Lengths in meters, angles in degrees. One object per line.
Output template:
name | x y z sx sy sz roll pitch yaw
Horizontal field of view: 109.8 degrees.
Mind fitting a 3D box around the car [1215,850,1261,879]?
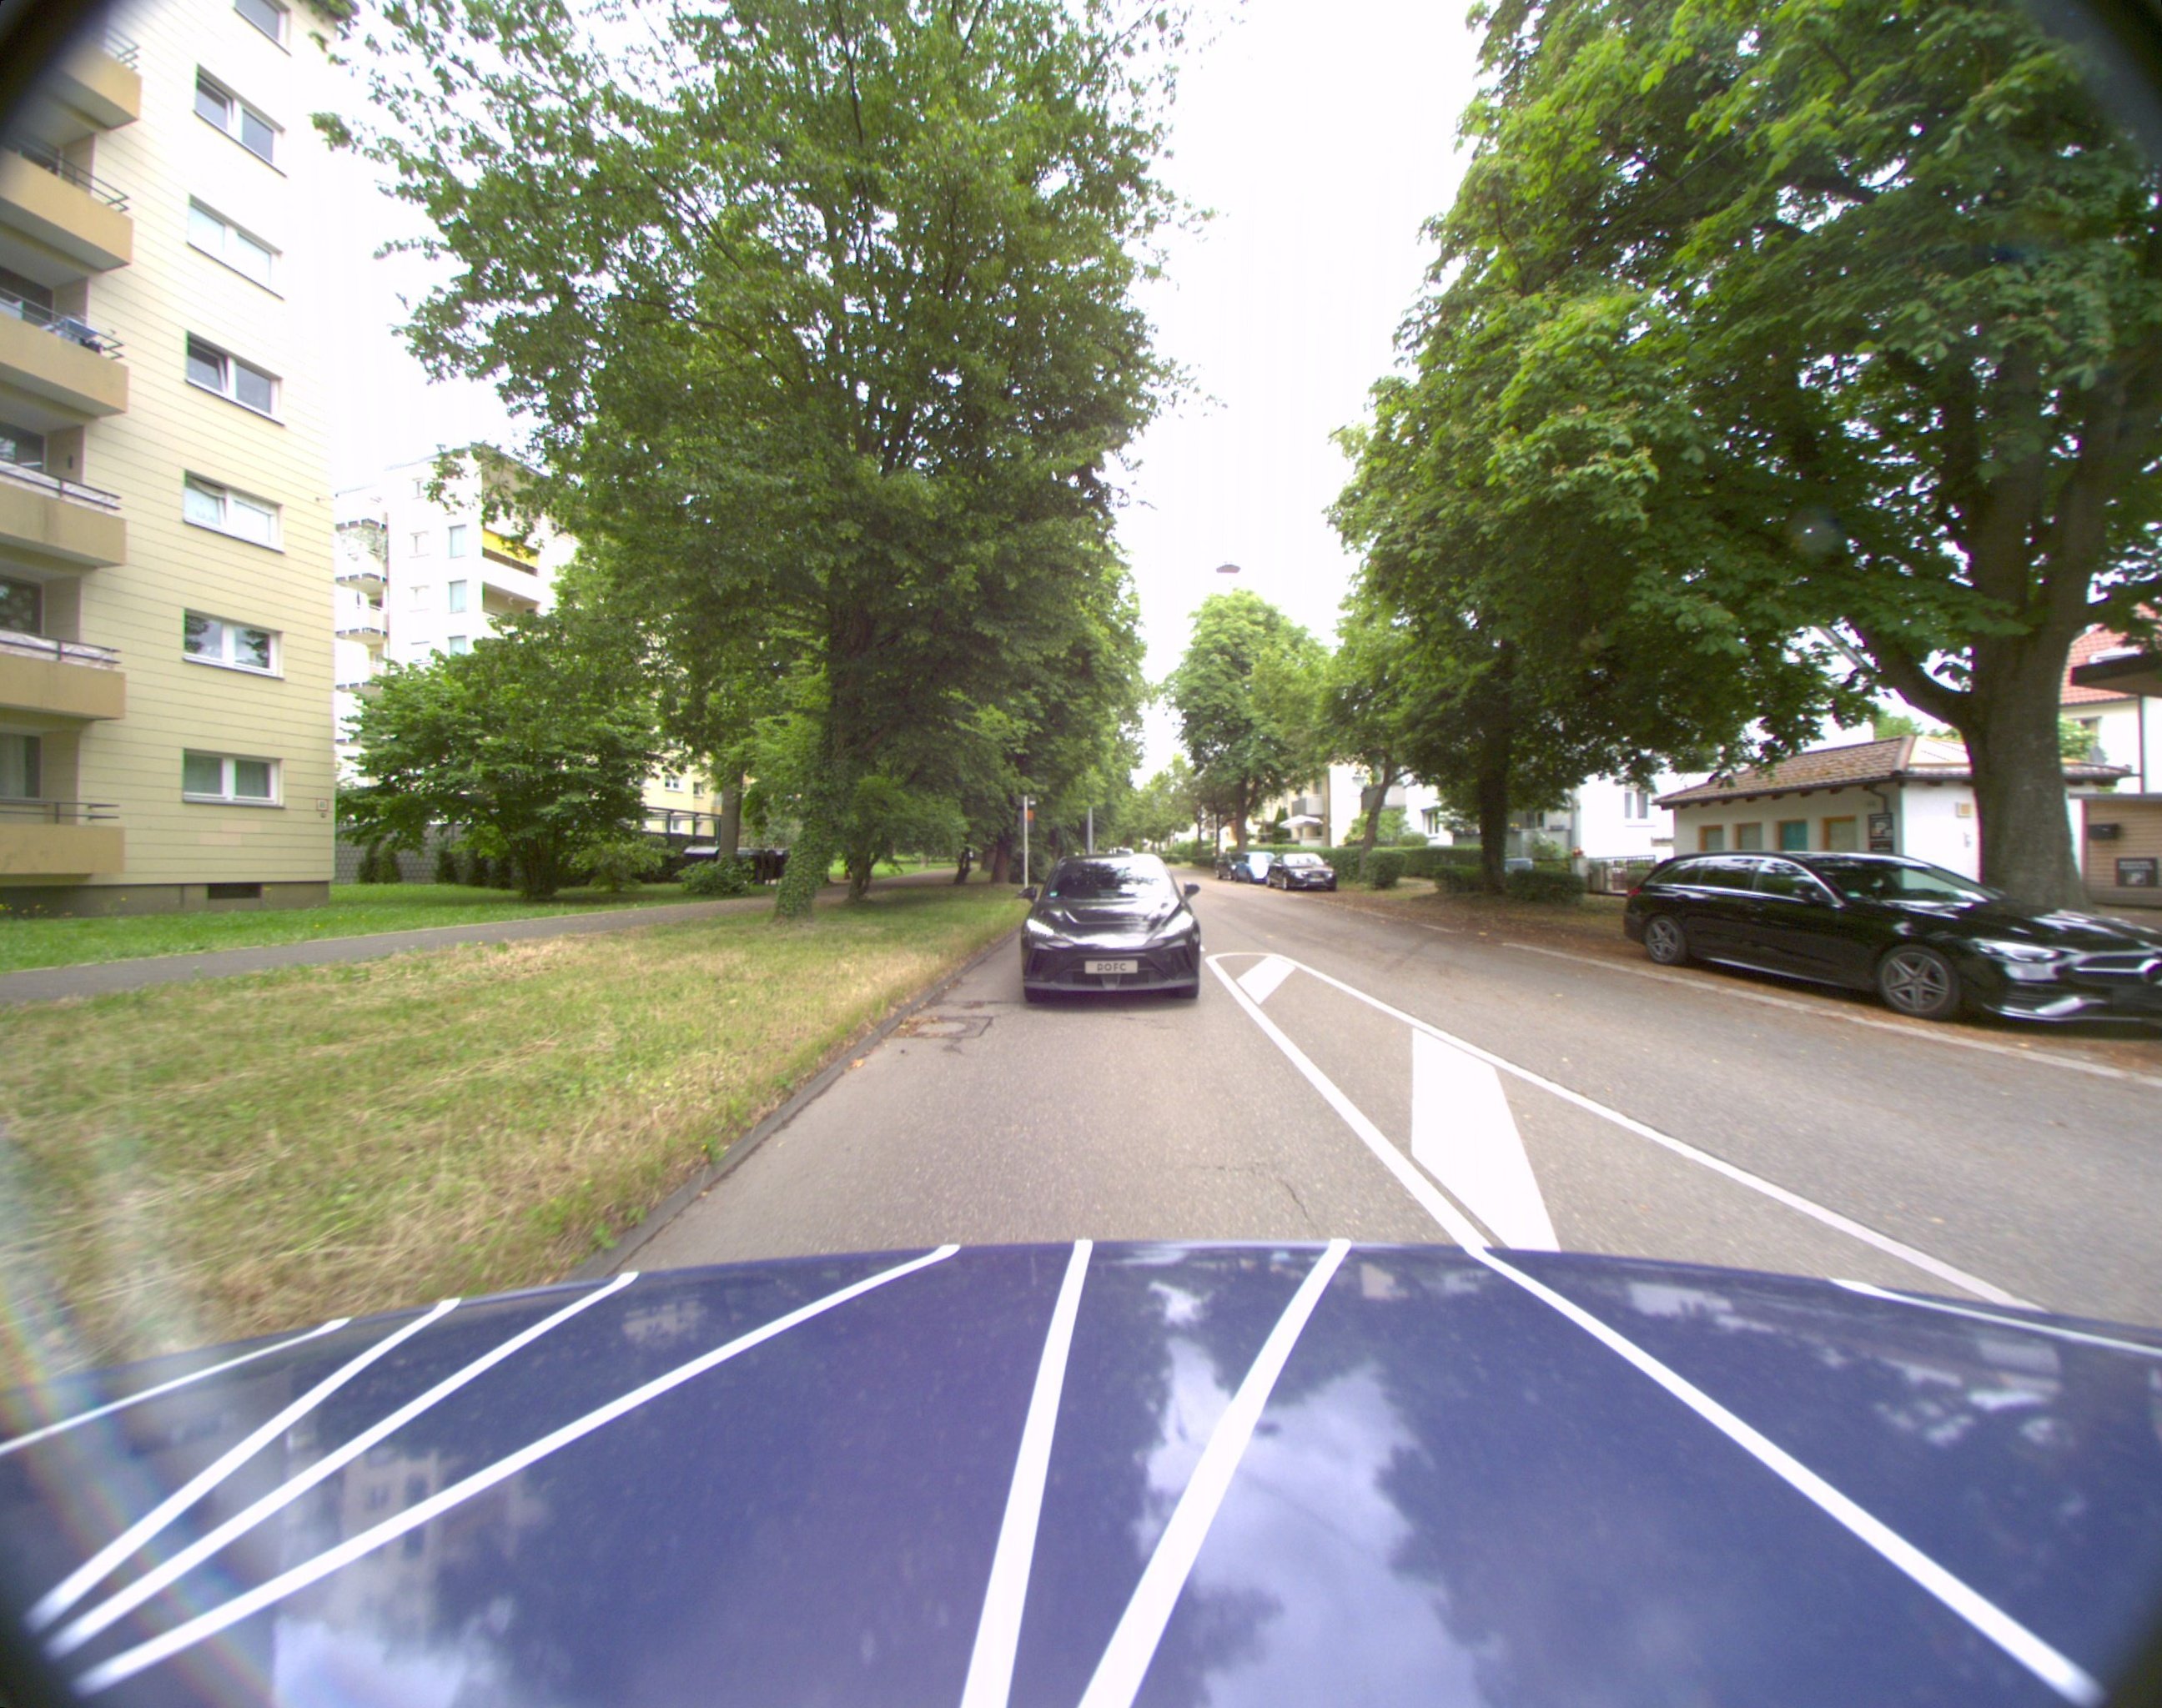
car | 7.927 0.504 38.559 1.540 1.368 3.771 0 0 0

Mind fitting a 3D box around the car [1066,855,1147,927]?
car | 0.667 0.830 19.122 1.814 1.521 4.000 0 2 3

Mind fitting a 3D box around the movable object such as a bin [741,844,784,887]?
movable object such as a bin | -12.420 0.428 29.653 1.240 1.633 1.075 1 2 -2

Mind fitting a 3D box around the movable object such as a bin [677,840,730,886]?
movable object such as a bin | -14.055 0.329 28.325 1.435 1.633 1.020 1 2 -2

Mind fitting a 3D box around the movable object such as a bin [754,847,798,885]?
movable object such as a bin | -12.377 0.493 30.871 1.328 1.466 1.201 1 2 -2

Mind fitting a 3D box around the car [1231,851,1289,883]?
car | 8.000 0.561 34.281 1.637 1.368 4.151 0 0 0

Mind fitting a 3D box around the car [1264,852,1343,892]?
car | 8.210 0.617 28.460 1.852 1.368 4.594 0 0 3

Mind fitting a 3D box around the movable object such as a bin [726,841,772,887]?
movable object such as a bin | -12.387 0.362 28.416 1.278 1.633 1.020 1 2 -2

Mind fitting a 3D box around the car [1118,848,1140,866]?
car | 4.474 0.261 71.558 1.998 1.586 4.000 0 0 2

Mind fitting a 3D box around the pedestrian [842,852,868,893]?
pedestrian | -7.600 0.619 25.549 0.689 1.373 0.606 0 2 -2

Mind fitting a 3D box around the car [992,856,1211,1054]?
car | 0.354 0.847 8.443 1.803 1.542 4.299 -1 1 5

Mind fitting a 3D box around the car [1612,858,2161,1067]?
car | 7.909 0.804 7.817 1.749 1.442 4.593 0 1 1
